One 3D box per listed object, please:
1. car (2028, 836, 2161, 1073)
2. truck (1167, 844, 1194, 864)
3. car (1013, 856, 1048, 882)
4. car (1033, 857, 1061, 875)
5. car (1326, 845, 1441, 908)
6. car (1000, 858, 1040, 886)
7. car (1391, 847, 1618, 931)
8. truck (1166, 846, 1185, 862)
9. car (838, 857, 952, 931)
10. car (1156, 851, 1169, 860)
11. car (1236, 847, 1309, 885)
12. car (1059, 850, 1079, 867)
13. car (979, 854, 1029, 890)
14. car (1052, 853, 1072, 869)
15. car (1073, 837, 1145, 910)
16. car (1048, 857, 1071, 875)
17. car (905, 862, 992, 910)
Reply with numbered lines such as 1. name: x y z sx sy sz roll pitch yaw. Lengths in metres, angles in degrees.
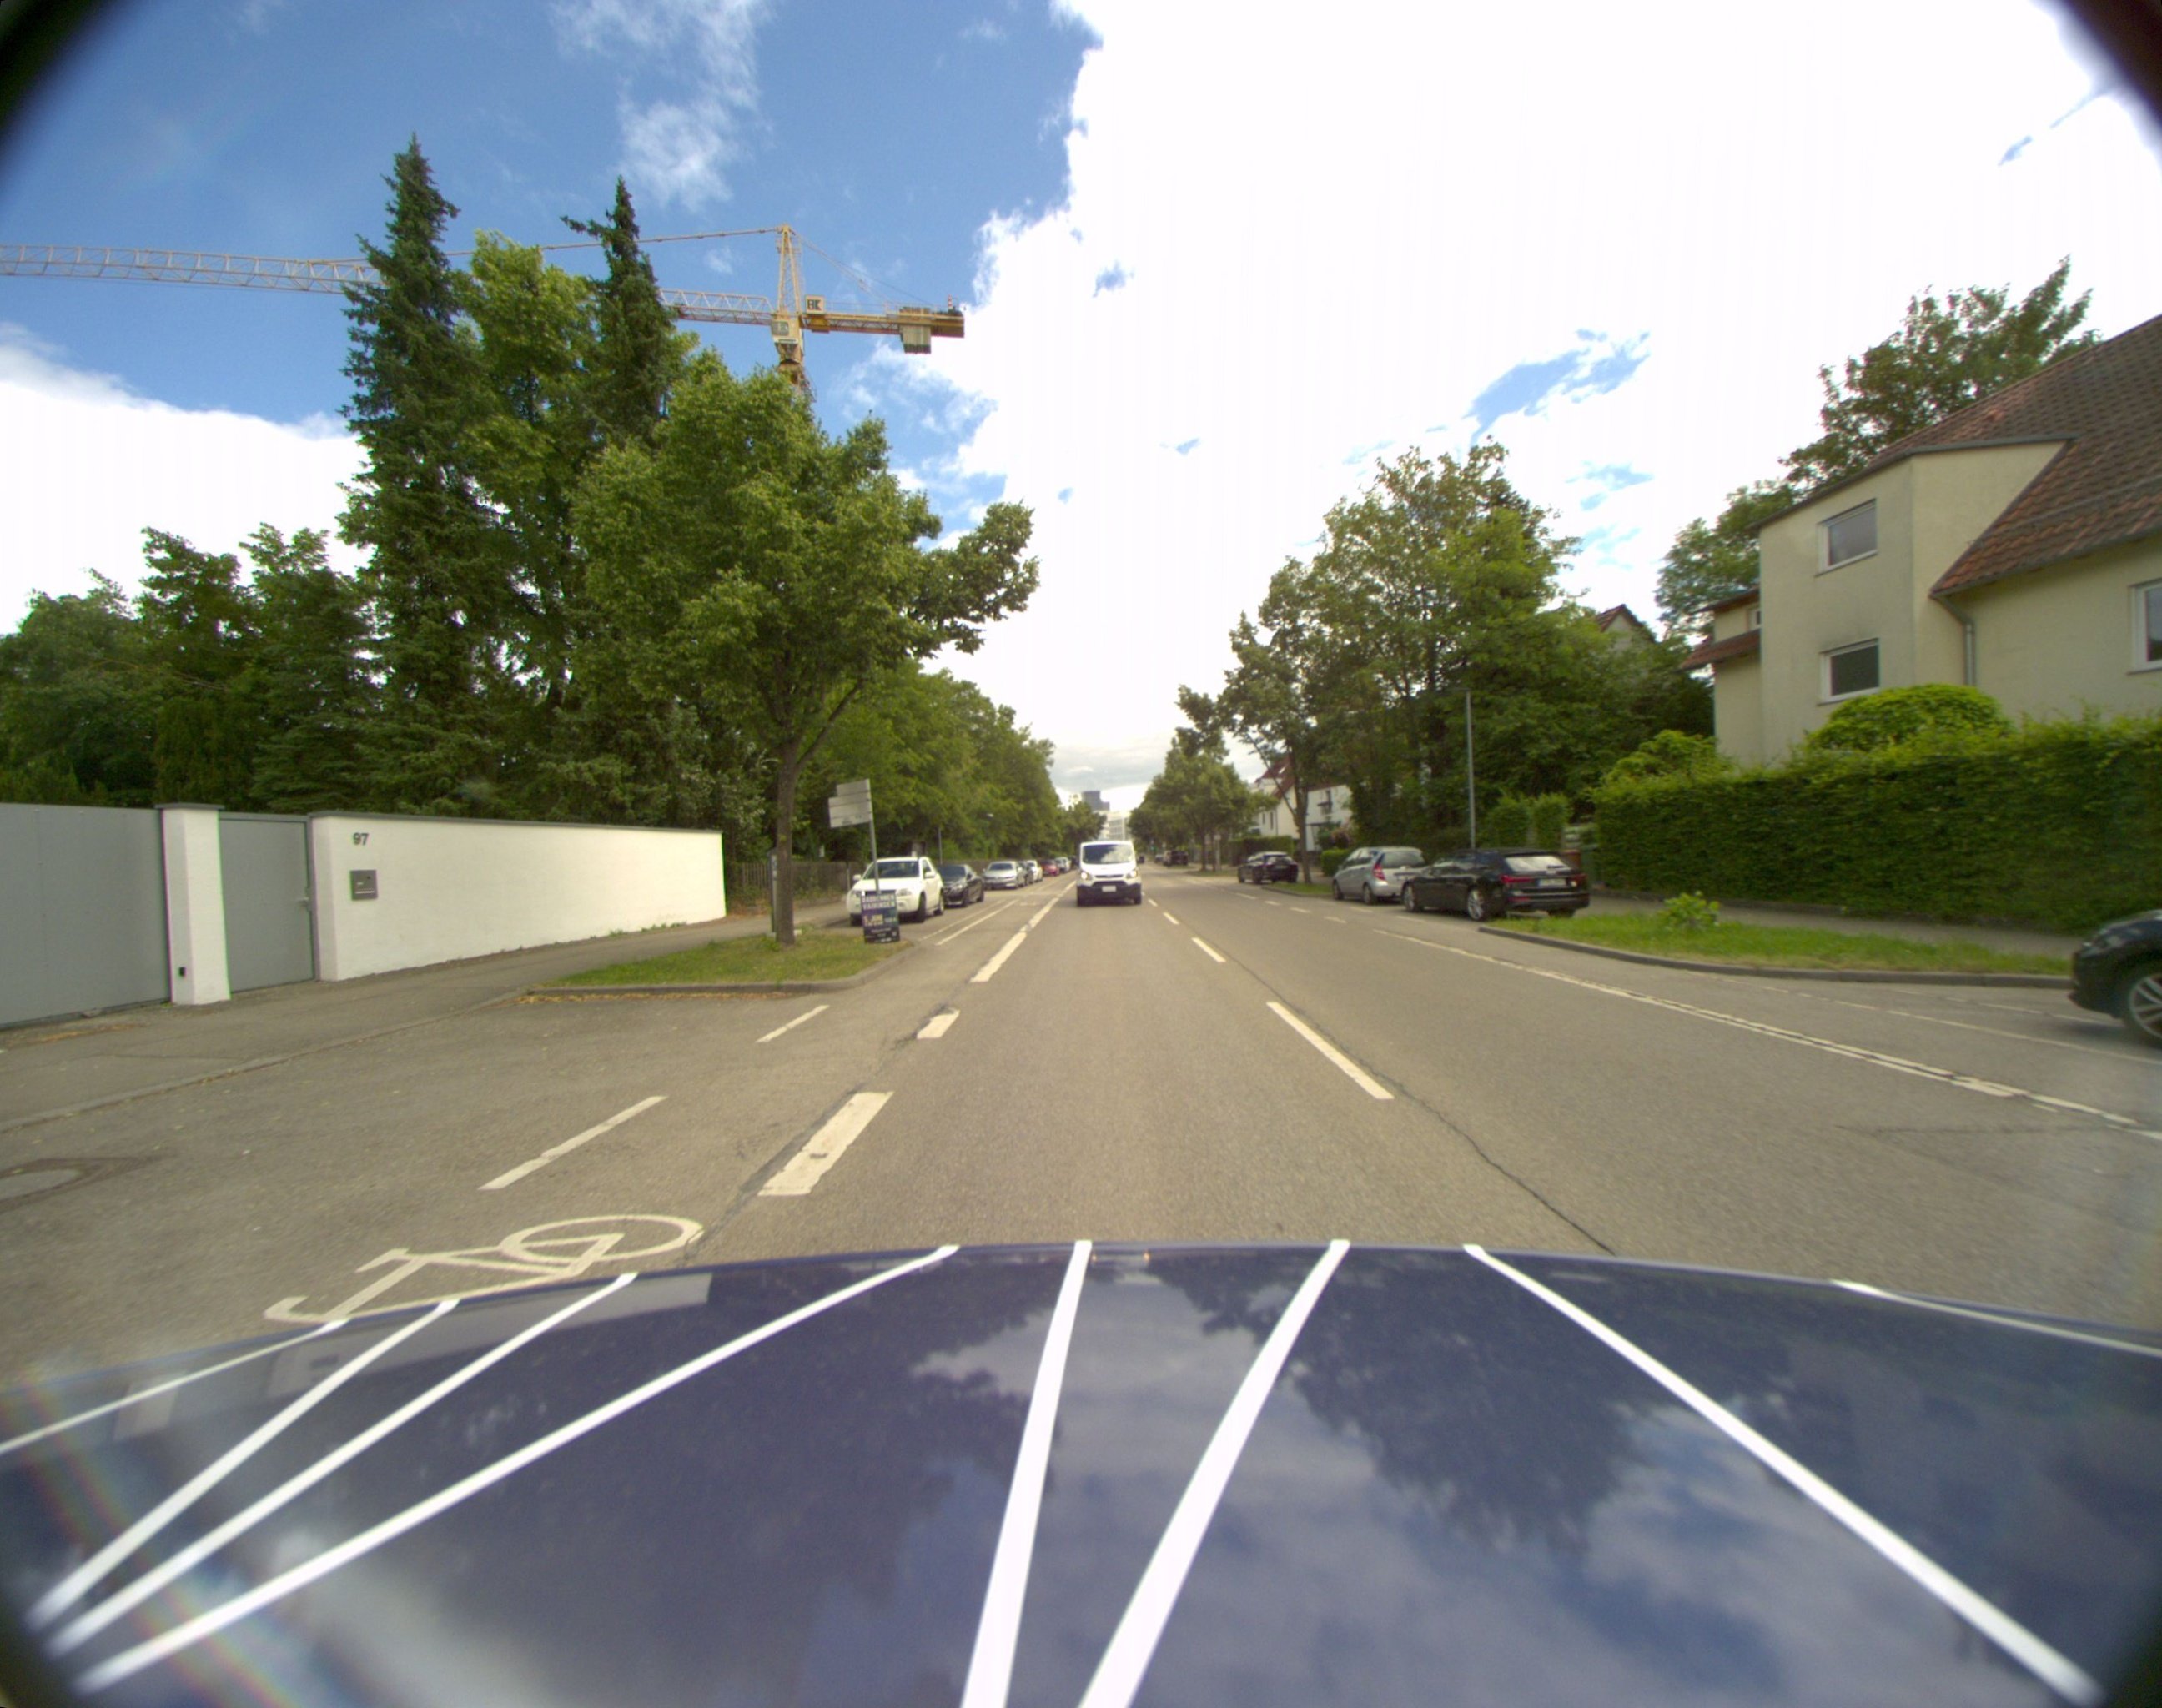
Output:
1. car: 7.933 0.647 3.542 1.681 1.543 4.272 -2 0 -1
2. truck: 11.146 -0.005 85.289 2.428 2.031 5.996 -2 0 2
3. car: -3.345 0.975 50.681 1.772 1.501 4.031 -2 1 3
4. car: -2.905 1.004 65.748 1.863 1.405 4.444 -4 0 3
5. car: 8.514 0.587 21.753 1.722 1.604 3.910 -1 0 0
6. car: -3.593 1.012 45.161 1.706 1.501 4.538 -3 0 3
7. car: 8.691 0.624 16.249 1.999 1.476 4.889 -1 0 -2
8. truck: 11.486 -0.003 92.796 1.971 1.857 5.665 0 1 3
9. car: -4.764 0.966 20.116 1.905 1.633 4.116 -2 1 1
10. car: 12.953 0.188 121.581 1.750 1.400 4.928 -1 0 3
11. car: 8.890 0.547 35.767 2.100 1.637 5.038 -1 0 -1
12. car: -1.479 0.526 93.248 1.998 1.805 4.827 -3 1 3
13. car: -3.917 0.900 39.520 1.866 1.602 4.686 -3 1 2
14. car: -1.957 0.738 80.696 1.867 1.580 4.421 -3 0 1
15. car: 0.971 0.545 24.793 1.998 2.002 5.189 -4 1 3
16. car: -2.120 1.178 75.279 1.820 1.506 4.680 -4 1 2
17. car: -4.380 1.015 25.852 1.868 1.408 4.603 -2 0 3
